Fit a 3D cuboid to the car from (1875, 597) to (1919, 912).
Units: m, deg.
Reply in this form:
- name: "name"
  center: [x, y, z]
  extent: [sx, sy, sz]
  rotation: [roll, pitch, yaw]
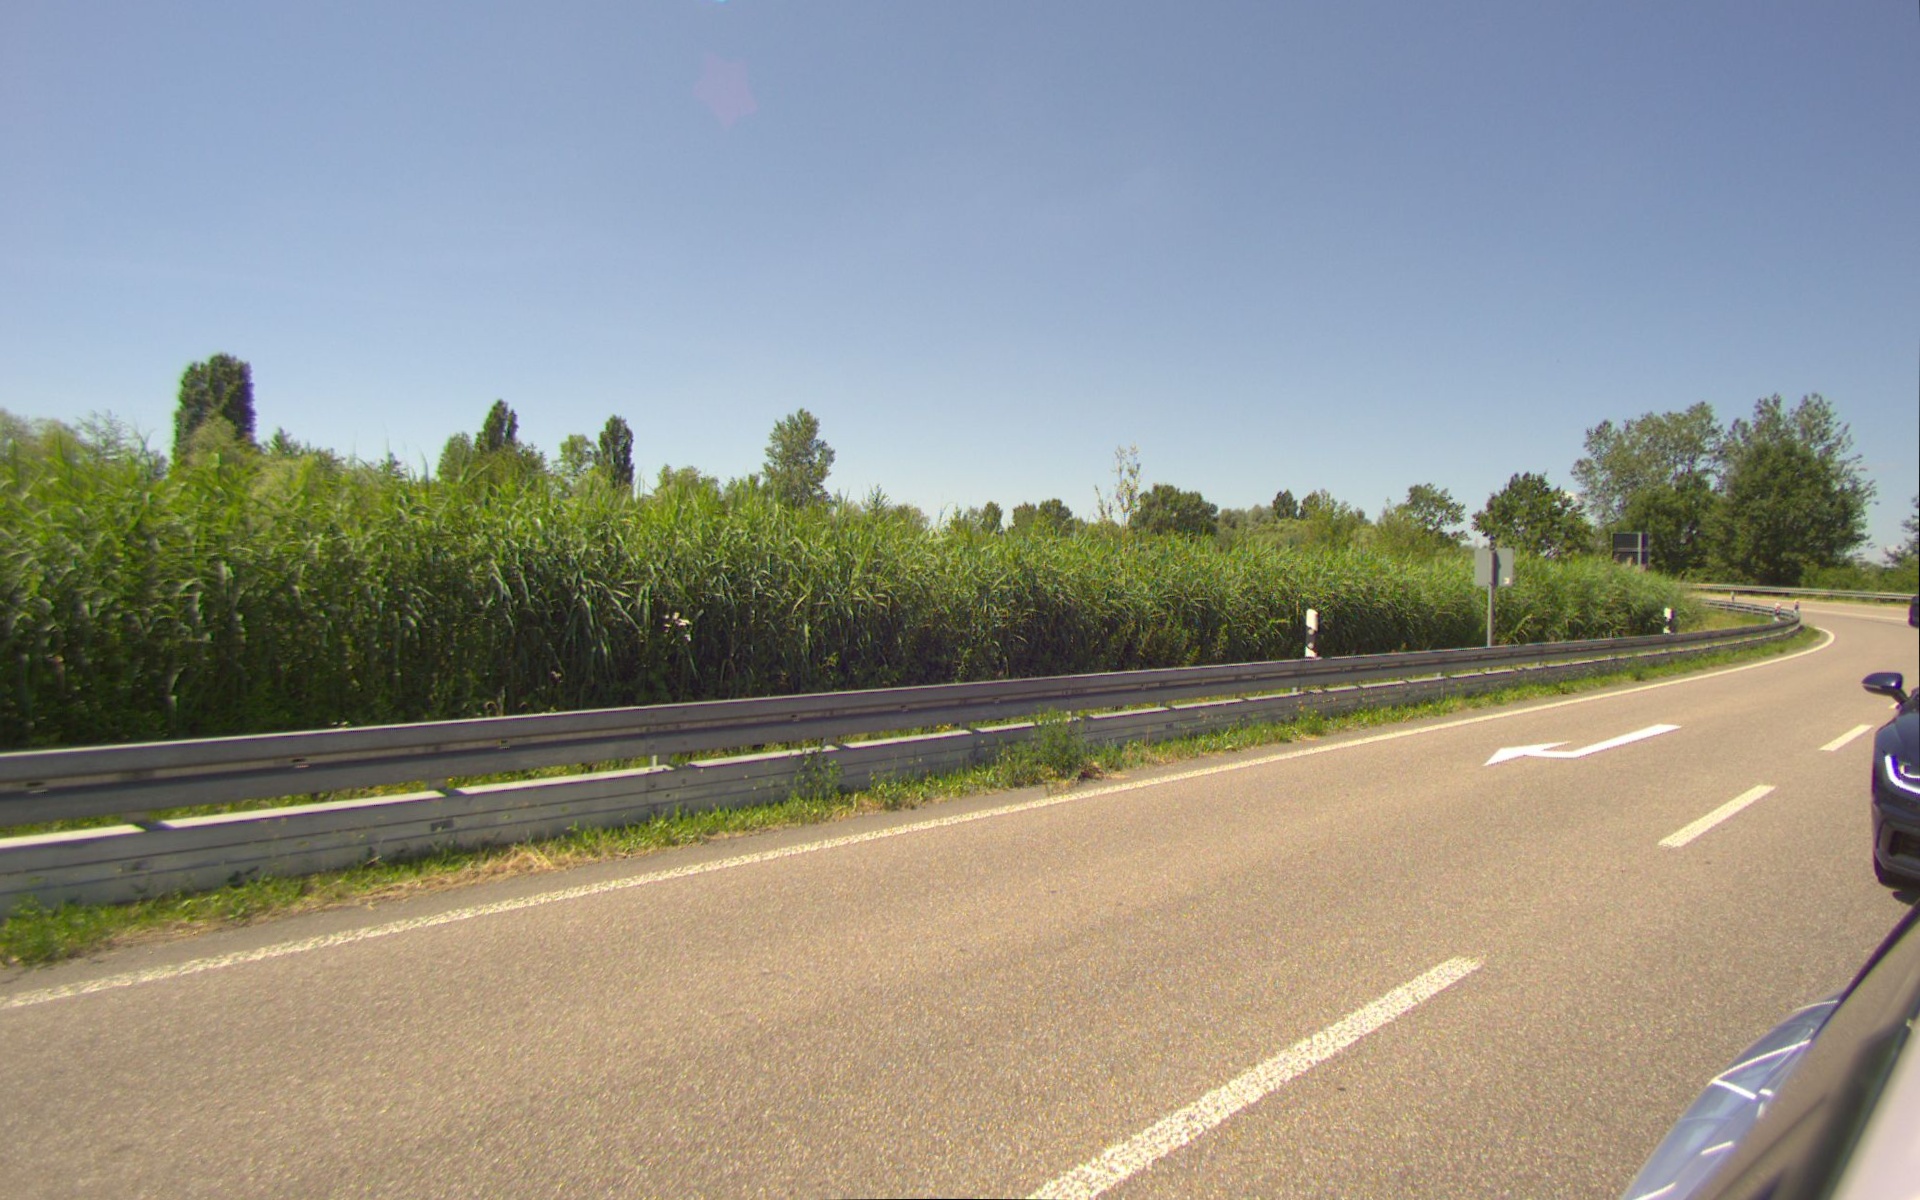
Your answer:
- name: "car"
  center: [6.325, 0.697, 5.367]
  extent: [3.931, 1.427, 1.759]
  rotation: [-1, 1, -41]
